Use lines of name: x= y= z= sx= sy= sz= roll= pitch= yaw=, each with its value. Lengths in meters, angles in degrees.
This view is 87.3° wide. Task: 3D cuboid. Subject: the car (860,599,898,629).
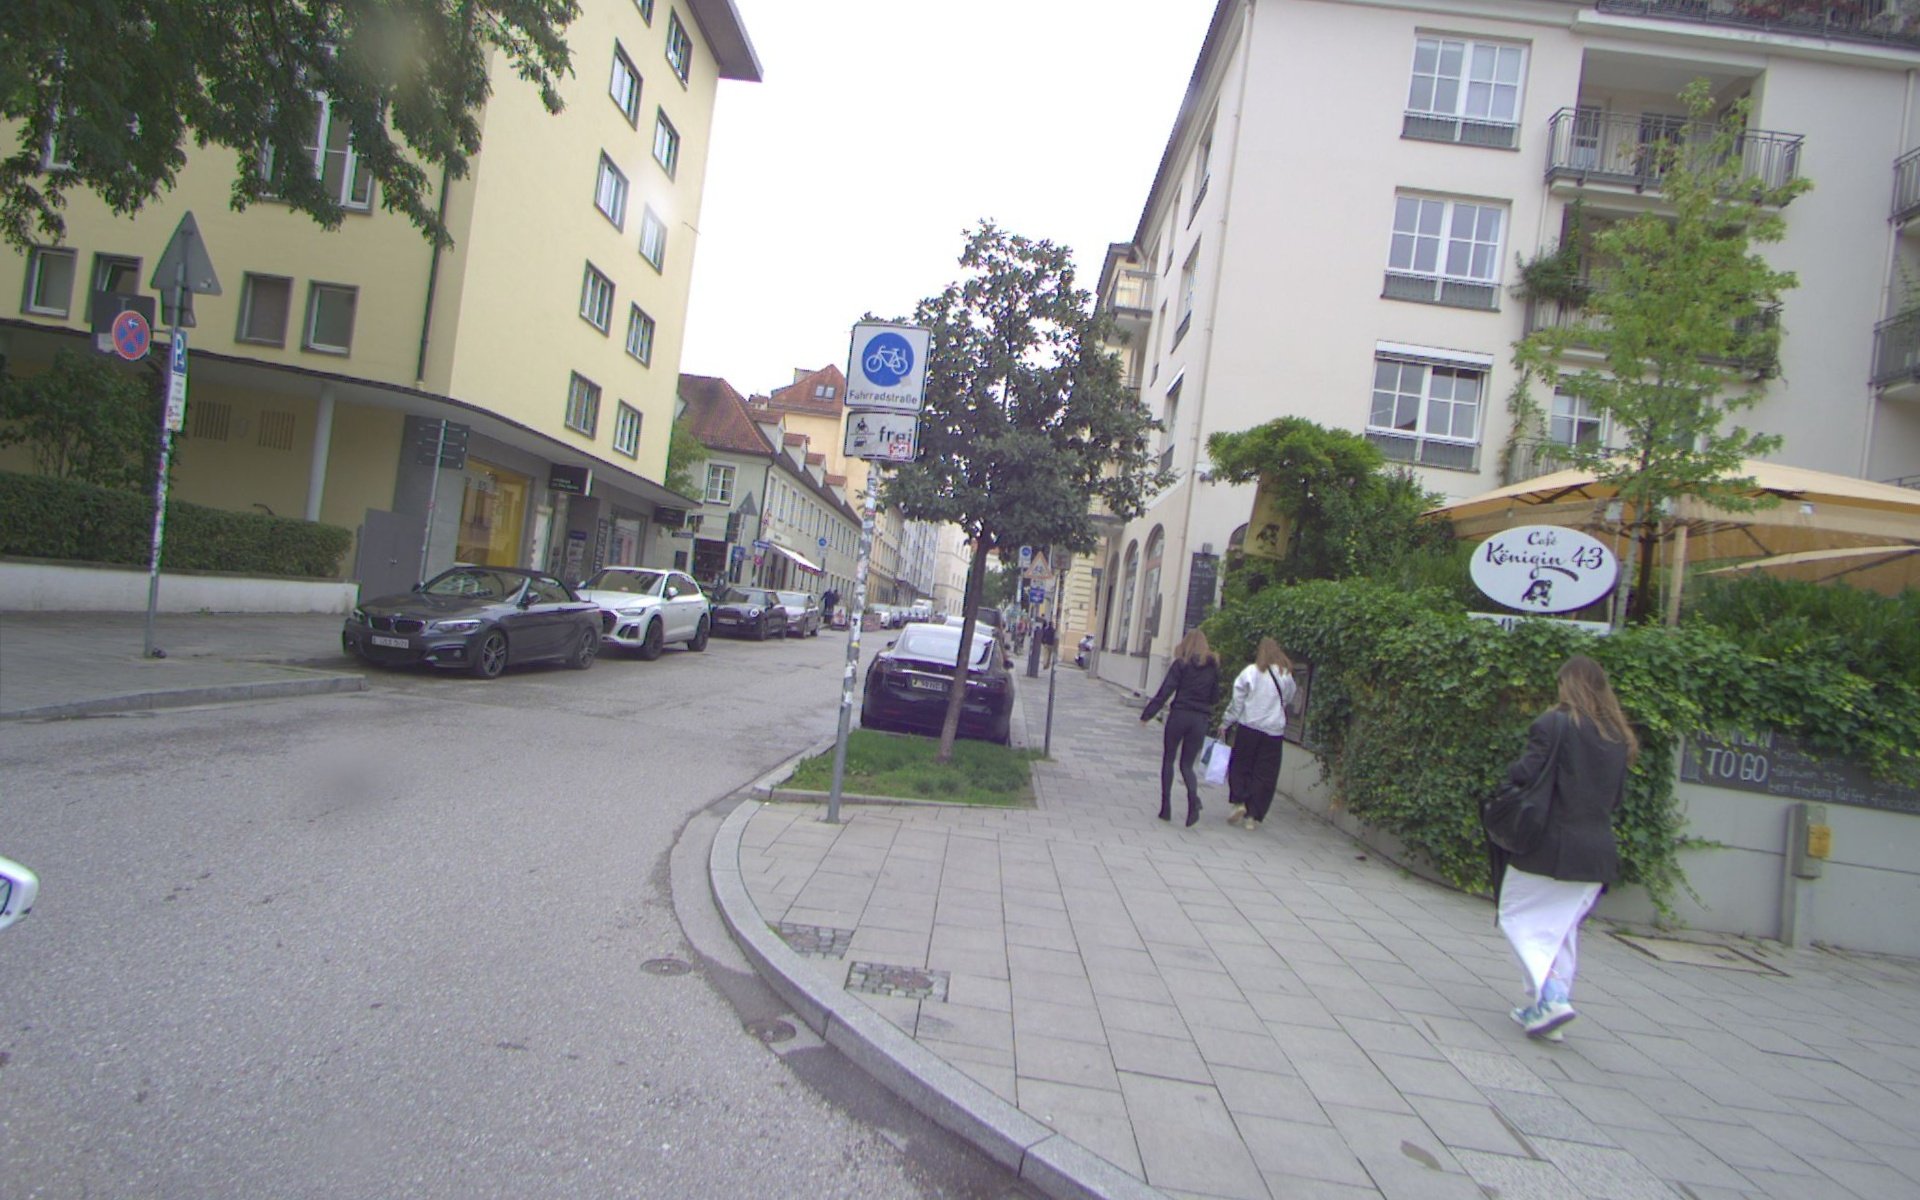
car: x=-4.724 y=0.840 z=59.163 sx=1.728 sy=1.492 sz=3.714 roll=8 pitch=-1 yaw=0

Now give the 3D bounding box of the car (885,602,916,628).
car: x=-4.117 y=1.046 z=70.146 sx=1.728 sy=1.514 sz=4.201 roll=8 pitch=-1 yaw=0

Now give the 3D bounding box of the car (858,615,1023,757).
car: x=-0.127 y=1.052 z=14.245 sx=1.775 sy=1.427 sz=4.657 roll=8 pitch=0 yaw=3

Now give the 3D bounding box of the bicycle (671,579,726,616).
bicycle: x=-9.514 y=-0.077 z=36.635 sx=1.790 sy=1.047 sz=0.392 roll=10 pitch=1 yaw=5

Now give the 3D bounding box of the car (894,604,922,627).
car: x=-3.885 y=1.148 z=75.281 sx=1.788 sy=1.459 sz=4.131 roll=7 pitch=0 yaw=-1

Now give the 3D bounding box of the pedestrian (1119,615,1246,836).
pedestrian: x=1.843 y=1.020 z=8.465 sx=0.694 sy=1.680 sz=0.881 roll=7 pitch=-1 yaw=1

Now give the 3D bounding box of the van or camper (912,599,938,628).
van or camper: x=-3.100 y=1.278 z=90.438 sx=1.728 sy=2.308 sz=5.275 roll=8 pitch=-1 yaw=2

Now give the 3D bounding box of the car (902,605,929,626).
car: x=-3.484 y=1.256 z=80.215 sx=1.728 sy=1.425 sz=4.104 roll=8 pitch=-1 yaw=1

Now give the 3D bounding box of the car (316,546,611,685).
car: x=-6.454 y=0.204 z=13.676 sx=1.718 sy=1.428 sz=4.098 roll=6 pitch=0 yaw=3

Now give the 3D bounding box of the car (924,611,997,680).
car: x=0.030 y=1.163 z=27.466 sx=1.651 sy=1.442 sz=4.203 roll=10 pitch=0 yaw=0

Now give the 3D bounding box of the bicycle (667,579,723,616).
bicycle: x=-9.548 y=-0.097 z=36.232 sx=1.790 sy=1.047 sz=0.392 roll=10 pitch=1 yaw=5

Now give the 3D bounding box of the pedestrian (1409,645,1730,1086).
pedestrian: x=2.594 y=1.058 z=4.393 sx=0.694 sy=1.641 sz=0.881 roll=7 pitch=-1 yaw=1

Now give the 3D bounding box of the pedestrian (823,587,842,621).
pedestrian: x=-7.671 y=0.249 z=60.442 sx=0.810 sy=1.920 sz=0.828 roll=7 pitch=-1 yaw=2

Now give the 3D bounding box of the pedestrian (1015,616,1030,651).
pedestrian: x=3.048 y=1.656 z=49.074 sx=0.464 sy=1.644 sz=1.070 roll=7 pitch=-1 yaw=2

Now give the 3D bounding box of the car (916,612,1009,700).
car: x=0.106 y=1.130 z=22.073 sx=1.621 sy=1.442 sz=4.509 roll=10 pitch=0 yaw=1

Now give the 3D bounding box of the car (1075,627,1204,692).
car: x=6.199 y=2.041 z=35.008 sx=4.025 sy=1.626 sz=1.754 roll=7 pitch=2 yaw=1

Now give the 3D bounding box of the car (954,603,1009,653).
car: x=1.042 y=1.261 z=45.491 sx=1.966 sy=1.886 sz=5.255 roll=8 pitch=-1 yaw=4

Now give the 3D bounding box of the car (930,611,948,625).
car: x=-2.432 y=2.155 z=118.788 sx=1.789 sy=1.462 sz=3.820 roll=7 pitch=-1 yaw=2

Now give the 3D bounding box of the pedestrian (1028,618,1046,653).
pedestrian: x=3.734 y=1.737 z=49.067 sx=0.648 sy=1.639 sz=0.980 roll=7 pitch=-1 yaw=2

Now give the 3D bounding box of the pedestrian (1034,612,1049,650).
pedestrian: x=4.393 y=1.692 z=54.524 sx=0.659 sy=2.004 sz=0.709 roll=4 pitch=-1 yaw=3

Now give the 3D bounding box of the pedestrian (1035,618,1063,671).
pedestrian: x=3.087 y=1.550 z=34.928 sx=0.708 sy=1.737 sz=1.004 roll=7 pitch=-1 yaw=1

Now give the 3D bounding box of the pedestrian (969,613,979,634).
pedestrian: x=1.169 y=1.999 z=85.062 sx=0.632 sy=1.733 sz=0.843 roll=7 pitch=-1 yaw=1

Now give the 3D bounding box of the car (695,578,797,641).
car: x=-5.981 y=0.296 z=28.566 sx=1.653 sy=1.489 sz=4.098 roll=6 pitch=-1 yaw=3

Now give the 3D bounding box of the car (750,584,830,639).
car: x=-5.527 y=0.378 z=33.248 sx=1.653 sy=1.489 sz=4.950 roll=6 pitch=-1 yaw=0

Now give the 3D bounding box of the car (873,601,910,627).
car: x=-4.310 y=0.885 z=64.156 sx=1.771 sy=1.355 sz=4.685 roll=8 pitch=0 yaw=2

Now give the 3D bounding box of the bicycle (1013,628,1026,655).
bicycle: x=2.571 y=1.791 z=43.722 sx=0.458 sy=1.066 sz=1.728 roll=5 pitch=2 yaw=3

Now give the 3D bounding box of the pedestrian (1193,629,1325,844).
pedestrian: x=2.550 y=1.136 z=8.678 sx=0.694 sy=1.680 sz=0.881 roll=7 pitch=-1 yaw=1

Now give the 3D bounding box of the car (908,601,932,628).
car: x=-3.362 y=1.211 z=85.167 sx=1.728 sy=2.018 sz=4.625 roll=8 pitch=-1 yaw=-1

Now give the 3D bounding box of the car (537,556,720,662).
car: x=-6.149 y=0.145 z=19.249 sx=1.774 sy=1.604 sz=4.337 roll=6 pitch=1 yaw=3
